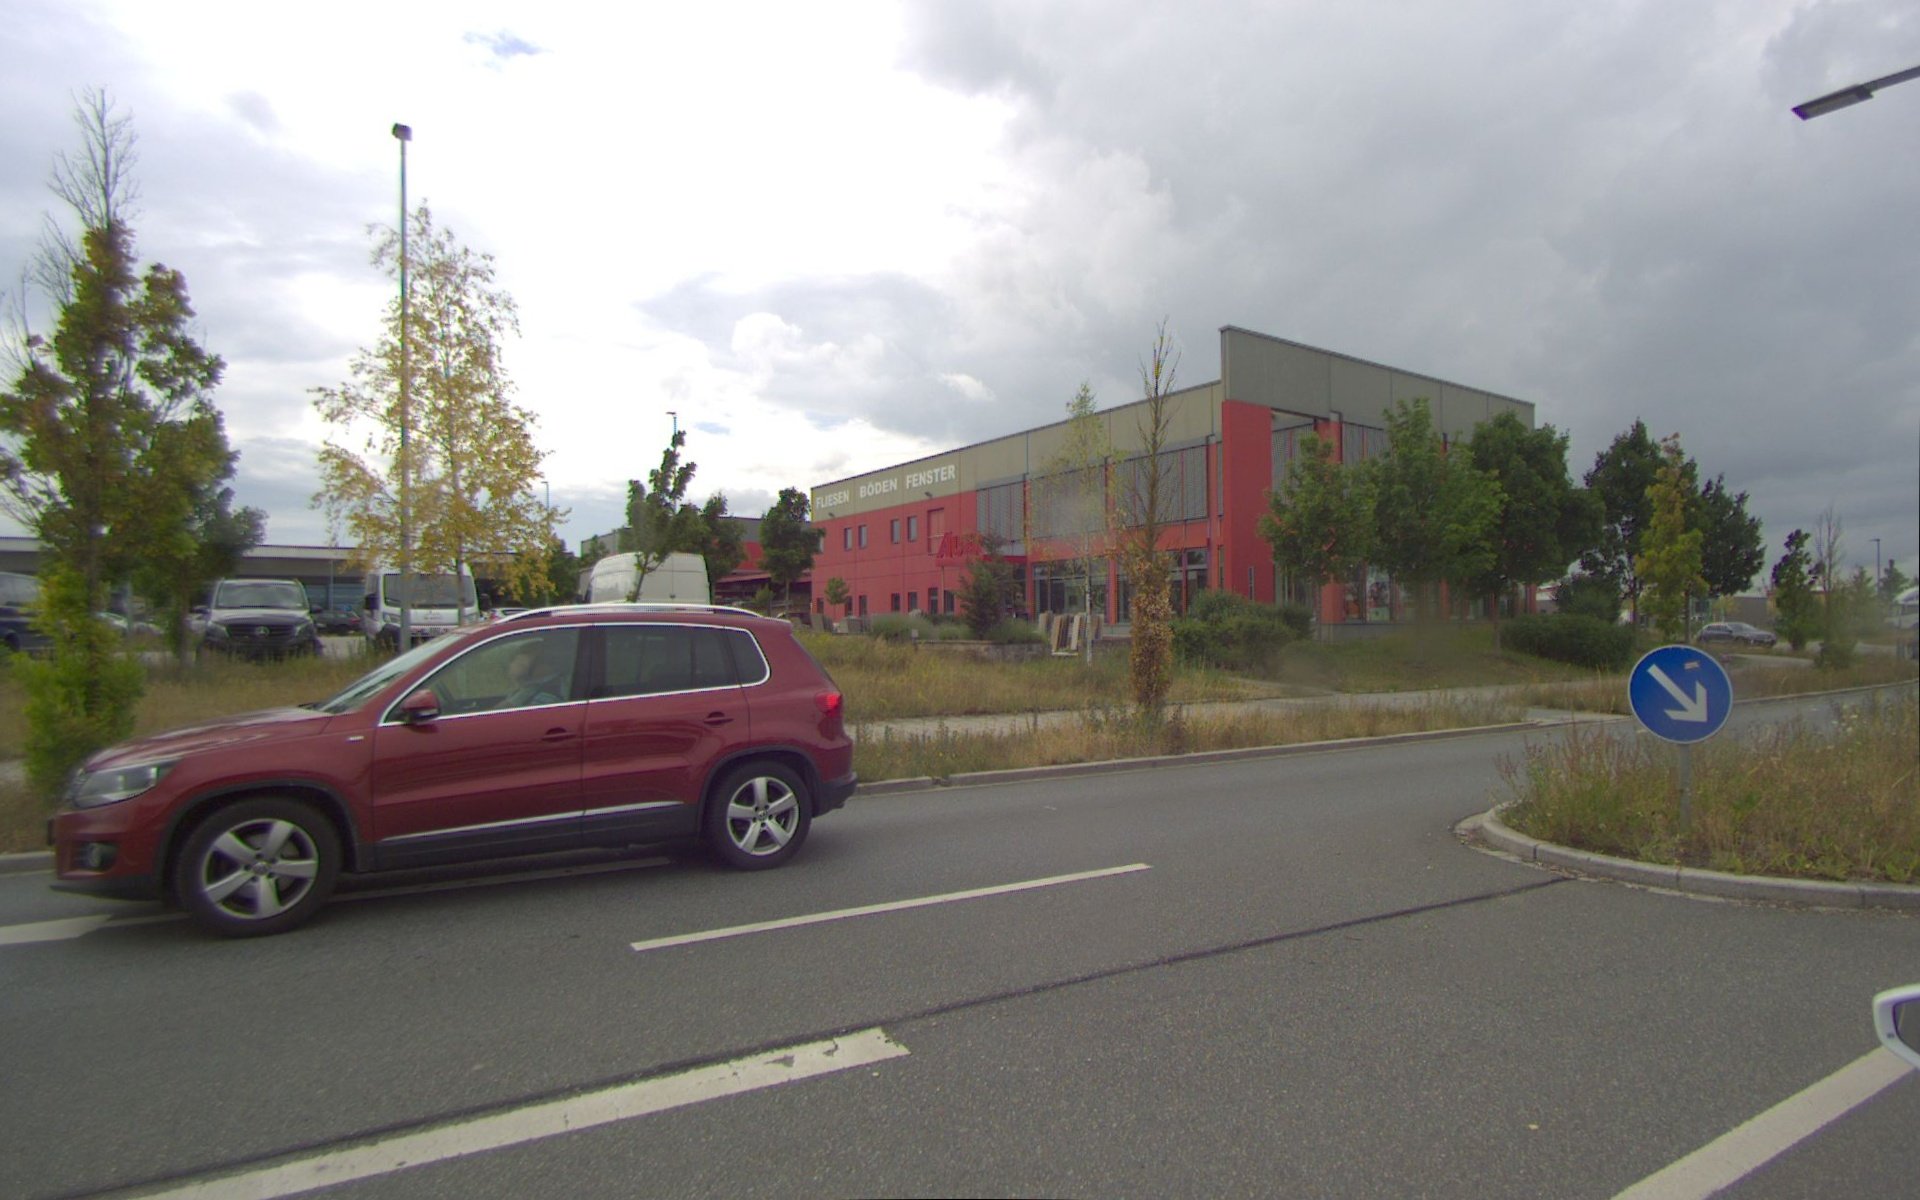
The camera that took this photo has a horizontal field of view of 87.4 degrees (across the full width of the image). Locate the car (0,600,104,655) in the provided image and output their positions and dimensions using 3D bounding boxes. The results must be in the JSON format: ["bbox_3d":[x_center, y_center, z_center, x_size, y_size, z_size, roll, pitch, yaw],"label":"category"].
[{"bbox_3d":[-30.630,0.903,32.742,3.962,1.752,1.980,1,-2,-36],"label":"car"}]

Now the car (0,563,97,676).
[{"bbox_3d":[-19.113,0.386,19.593,2.149,2.016,4.888,1,-2,-25],"label":"car"}]

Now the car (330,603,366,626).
[{"bbox_3d":[-45.087,1.074,74.093,1.975,1.628,3.972,1,-2,-27],"label":"car"}]

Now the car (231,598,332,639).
[{"bbox_3d":[-35.141,0.988,52.133,3.940,2.040,1.991,1,-2,-21],"label":"car"}]

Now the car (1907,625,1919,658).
[{"bbox_3d":[42.393,1.764,42.861,1.813,1.425,3.995,-3,-3,27],"label":"car"}]

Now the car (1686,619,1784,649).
[{"bbox_3d":[44.754,1.975,58.104,2.028,1.613,4.198,-1,-2,-9],"label":"car"}]

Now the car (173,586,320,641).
[{"bbox_3d":[-25.830,0.523,36.406,4.230,1.874,1.978,1,-2,-39],"label":"car"}]

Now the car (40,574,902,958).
[{"bbox_3d":[-2.675,0.820,6.338,4.277,1.691,1.790,1,-4,-31],"label":"car"}]

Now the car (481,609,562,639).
[{"bbox_3d":[-25.134,1.383,57.576,3.960,1.672,1.981,1,-2,-35],"label":"car"}]

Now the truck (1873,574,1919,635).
[{"bbox_3d":[65.755,0.313,65.125,9.170,3.958,3.137,-1,-2,30],"label":"truck"}]

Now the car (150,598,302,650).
[{"bbox_3d":[-24.279,0.806,33.321,3.965,1.623,1.655,1,-2,-39],"label":"car"}]

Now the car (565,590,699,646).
[{"bbox_3d":[-12.768,0.740,39.227,4.593,2.060,1.980,1,-2,-36],"label":"car"}]

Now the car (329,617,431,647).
[{"bbox_3d":[-33.870,1.870,58.707,5.007,1.672,1.981,1,-2,-35],"label":"car"}]

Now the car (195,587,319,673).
[{"bbox_3d":[-15.172,0.640,21.739,1.975,1.638,4.870,1,-2,-35],"label":"car"}]

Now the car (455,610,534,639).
[{"bbox_3d":[-27.486,1.440,59.360,3.960,1.672,1.981,1,-2,-35],"label":"car"}]

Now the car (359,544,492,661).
[{"bbox_3d":[-12.516,0.116,23.285,2.187,2.337,6.033,1,-1,-33],"label":"car"}]

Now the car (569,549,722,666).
[{"bbox_3d":[-8.242,0.239,25.816,2.219,2.633,6.373,1,-1,-32],"label":"car"}]

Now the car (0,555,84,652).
[{"bbox_3d":[-28.087,0.116,28.258,5.103,2.726,2.041,1,-2,-40],"label":"car"}]

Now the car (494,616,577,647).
[{"bbox_3d":[-23.604,1.735,55.917,3.959,1.672,1.981,1,-2,-34],"label":"car"}]
